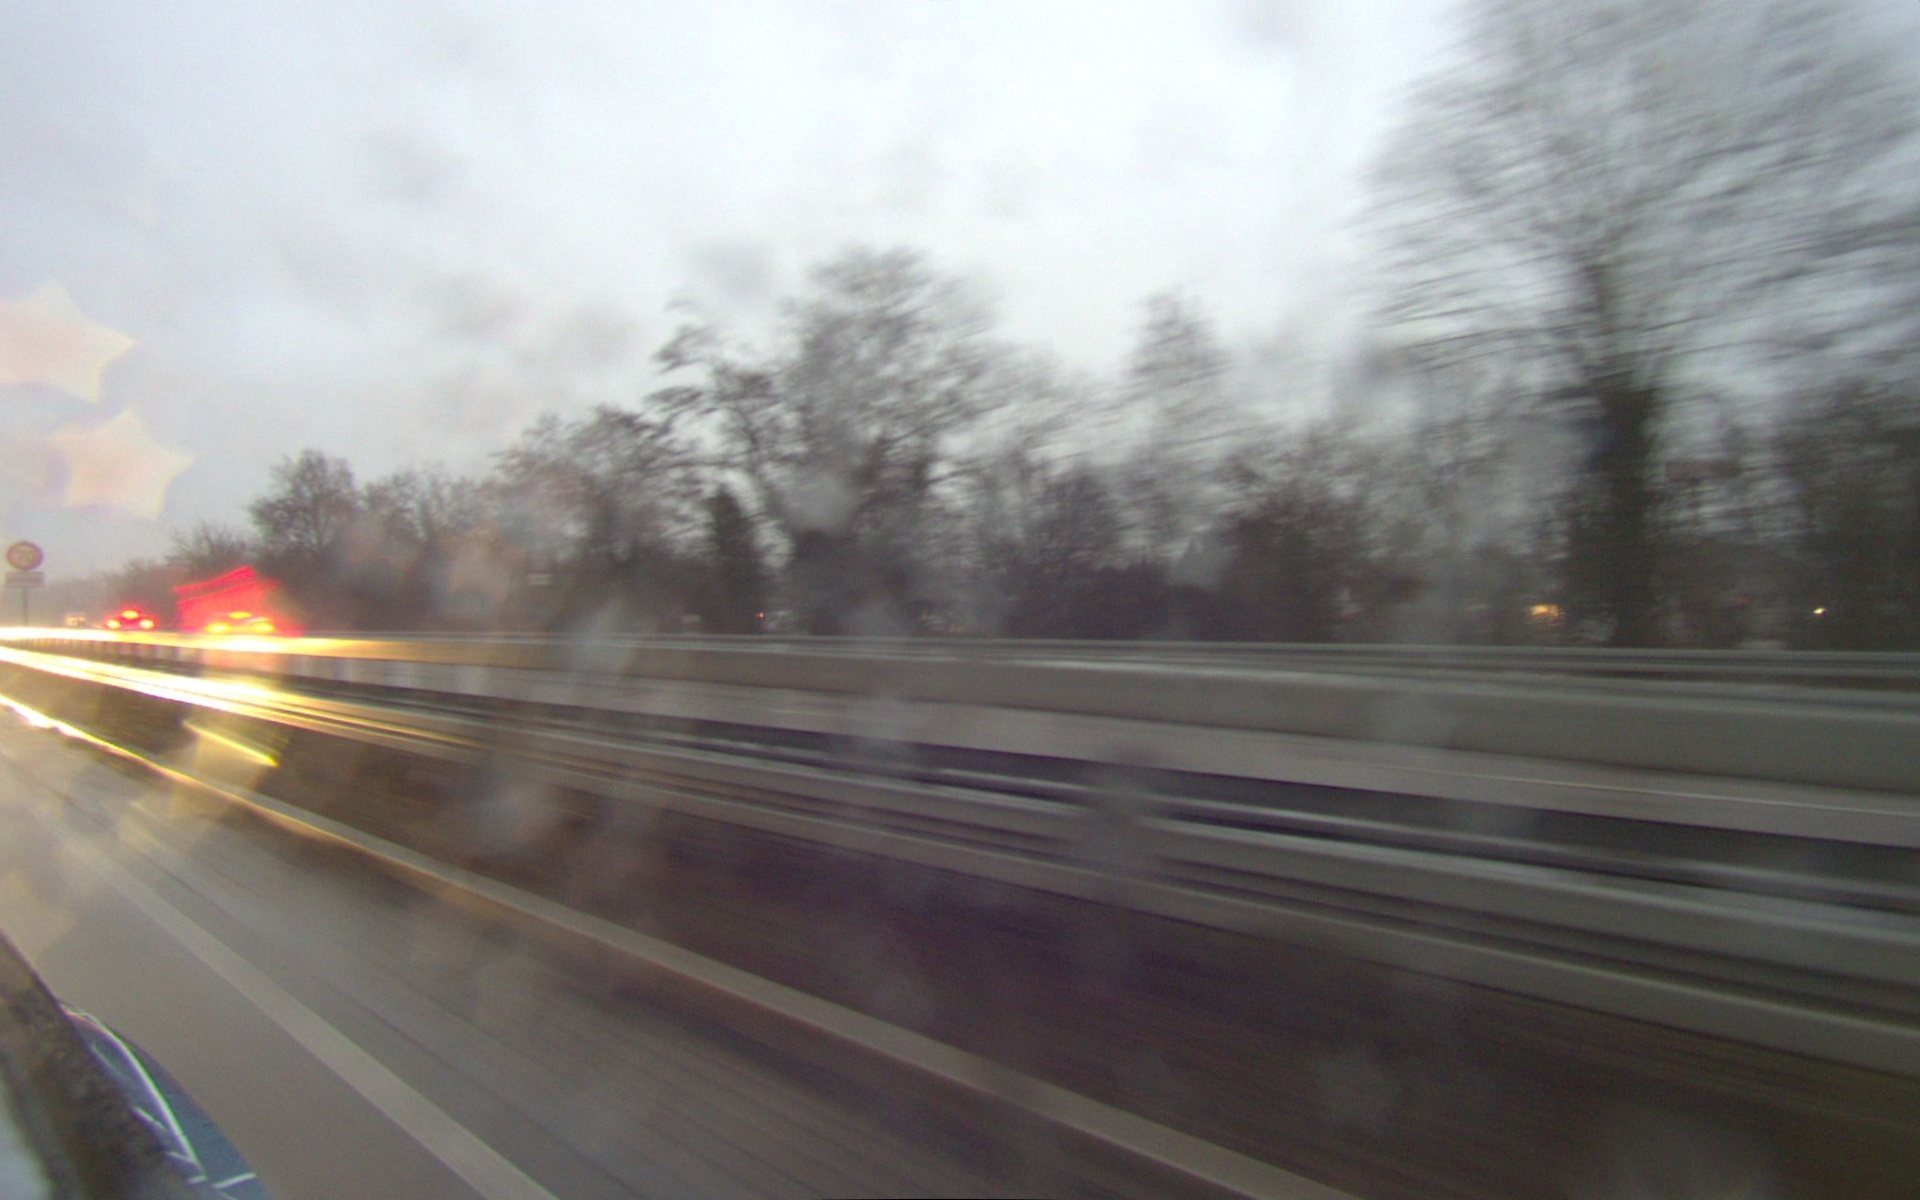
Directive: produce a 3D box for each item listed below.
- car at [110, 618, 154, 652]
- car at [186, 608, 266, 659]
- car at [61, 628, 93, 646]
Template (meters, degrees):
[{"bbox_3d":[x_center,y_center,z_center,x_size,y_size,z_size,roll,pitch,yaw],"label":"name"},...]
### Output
[{"bbox_3d":[-51.975,2.168,63.508,1.911,1.988,4.543,-1,0,-42],"label":"car"},{"bbox_3d":[-28.821,1.273,39.702,4.135,1.847,1.726,0,-1,43],"label":"car"},{"bbox_3d":[-79.055,3.267,90.592,4.305,1.540,1.825,-2,-1,45],"label":"car"}]
